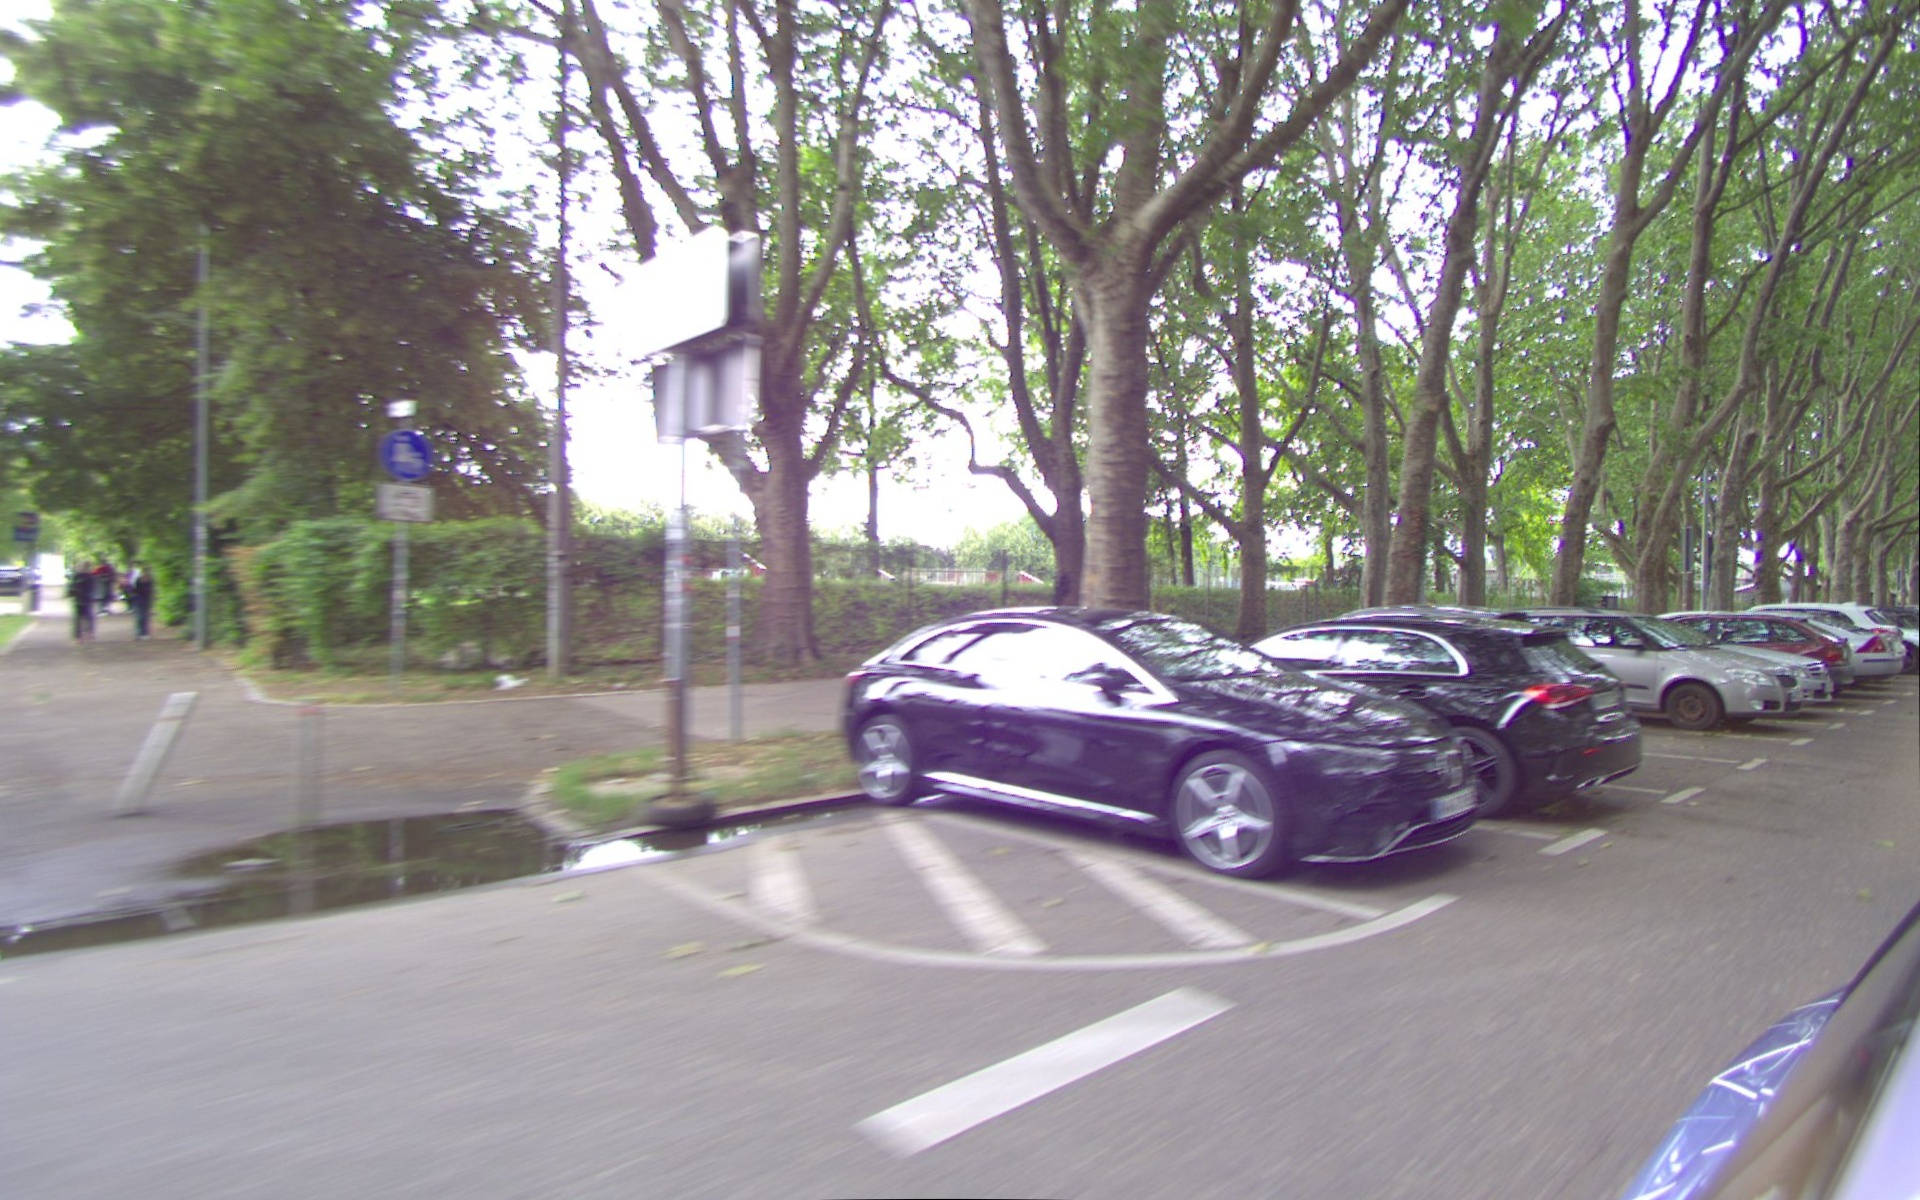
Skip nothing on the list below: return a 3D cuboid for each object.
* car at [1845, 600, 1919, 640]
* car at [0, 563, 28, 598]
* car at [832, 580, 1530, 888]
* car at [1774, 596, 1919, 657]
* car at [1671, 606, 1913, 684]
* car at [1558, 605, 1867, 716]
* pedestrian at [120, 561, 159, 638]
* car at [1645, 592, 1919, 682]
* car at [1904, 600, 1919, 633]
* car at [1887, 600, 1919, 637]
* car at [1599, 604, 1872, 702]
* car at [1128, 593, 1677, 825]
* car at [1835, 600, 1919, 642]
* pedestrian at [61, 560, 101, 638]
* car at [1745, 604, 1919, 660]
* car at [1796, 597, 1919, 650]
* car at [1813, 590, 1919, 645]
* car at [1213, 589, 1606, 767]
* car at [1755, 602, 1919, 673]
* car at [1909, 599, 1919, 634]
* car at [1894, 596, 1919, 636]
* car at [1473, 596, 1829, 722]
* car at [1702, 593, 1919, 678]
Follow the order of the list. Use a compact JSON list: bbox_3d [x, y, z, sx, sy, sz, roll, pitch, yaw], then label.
[{"bbox_3d":[36.495,0.756,38.740,1.638,1.488,3.782,1,0,-41],"label":"car"},{"bbox_3d":[-49.183,-0.962,51.822,3.987,1.750,1.968,0,0,45],"label":"car"},{"bbox_3d":[1.190,0.682,7.230,1.893,1.470,4.665,0,-1,-42],"label":"car"},{"bbox_3d":[25.382,0.700,28.399,1.791,1.617,3.778,1,0,-44],"label":"car"},{"bbox_3d":[16.787,0.846,20.538,1.494,1.428,3.648,1,0,-44],"label":"car"},{"bbox_3d":[11.165,0.810,15.244,1.489,1.442,3.439,0,0,-30],"label":"car"},{"bbox_3d":[-17.865,-0.014,22.034,0.618,1.620,1.037,1,-1,-41],"label":"pedestrian"},{"bbox_3d":[14.749,0.597,18.270,1.952,1.442,3.648,0,0,-44],"label":"car"},{"bbox_3d":[43.862,0.733,43.847,1.583,1.470,4.217,1,0,-42],"label":"car"},{"bbox_3d":[40.330,0.745,40.864,1.664,1.488,4.120,1,0,-41],"label":"car"},{"bbox_3d":[12.764,0.787,16.785,1.494,1.442,3.427,1,0,-44],"label":"car"},{"bbox_3d":[3.424,0.695,8.423,1.529,1.470,3.924,1,0,-42],"label":"car"},{"bbox_3d":[34.486,0.748,36.436,1.595,1.488,4.373,1,0,-41],"label":"car"},{"bbox_3d":[-18.518,-0.017,21.331,0.618,1.620,0.792,1,-1,-41],"label":"pedestrian"},{"bbox_3d":[23.247,0.802,26.860,1.494,1.389,3.648,1,0,-44],"label":"car"},{"bbox_3d":[27.136,0.671,29.772,1.597,1.488,3.778,1,0,-44],"label":"car"},{"bbox_3d":[28.997,0.579,30.914,1.597,1.487,4.303,1,3,-44],"label":"car"},{"bbox_3d":[4.519,0.674,10.522,1.529,1.527,3.429,1,0,-42],"label":"car"},{"bbox_3d":[22.045,0.868,24.536,1.824,1.616,4.169,1,0,-44],"label":"car"},{"bbox_3d":[47.476,0.791,47.766,1.665,1.628,3.832,1,0,-42],"label":"car"},{"bbox_3d":[42.130,0.675,42.507,1.664,1.691,4.121,1,0,-40],"label":"car"},{"bbox_3d":[9.021,0.676,13.434,1.493,1.442,3.682,1,0,-43],"label":"car"},{"bbox_3d":[18.291,0.703,21.705,1.494,1.688,3.648,1,0,-44],"label":"car"}]
